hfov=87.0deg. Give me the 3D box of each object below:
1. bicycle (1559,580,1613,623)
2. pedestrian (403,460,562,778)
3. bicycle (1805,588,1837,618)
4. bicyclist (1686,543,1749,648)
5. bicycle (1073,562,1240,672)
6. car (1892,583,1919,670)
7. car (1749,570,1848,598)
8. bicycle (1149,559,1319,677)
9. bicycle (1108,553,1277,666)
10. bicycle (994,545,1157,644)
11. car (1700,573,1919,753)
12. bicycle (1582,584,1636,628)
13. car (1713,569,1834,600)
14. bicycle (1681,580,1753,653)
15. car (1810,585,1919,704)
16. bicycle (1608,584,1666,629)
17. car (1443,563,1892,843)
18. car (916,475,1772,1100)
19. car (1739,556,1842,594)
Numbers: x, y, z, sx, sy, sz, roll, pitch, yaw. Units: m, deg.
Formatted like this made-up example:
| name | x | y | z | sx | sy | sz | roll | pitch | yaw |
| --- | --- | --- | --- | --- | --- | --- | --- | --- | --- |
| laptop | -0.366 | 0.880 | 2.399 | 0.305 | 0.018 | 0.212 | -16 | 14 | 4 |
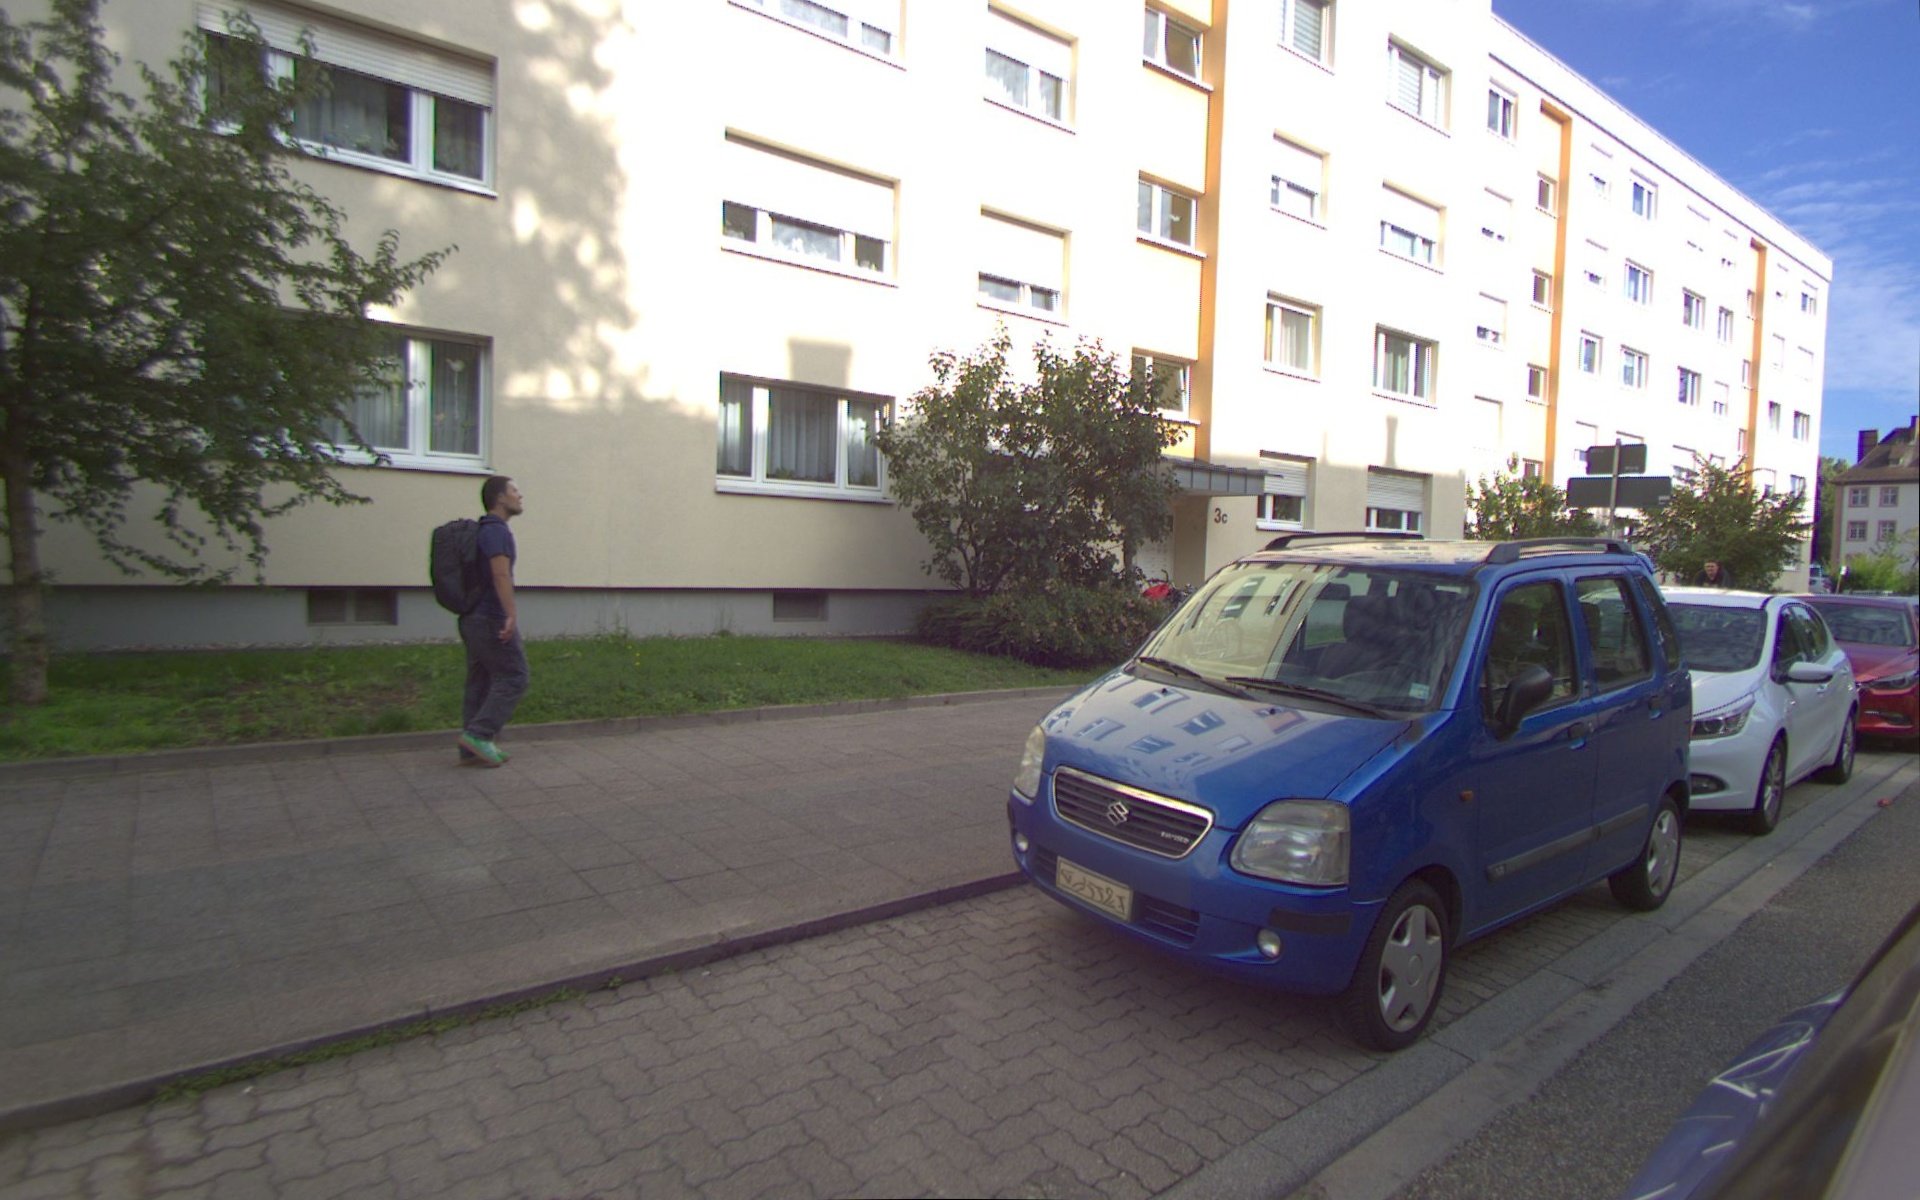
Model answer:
| name | x | y | z | sx | sy | sz | roll | pitch | yaw |
| --- | --- | --- | --- | --- | --- | --- | --- | --- | --- |
| bicycle | 16.200 | 0.027 | 26.158 | 2.033 | 1.042 | 0.503 | -1 | 5 | -40 |
| pedestrian | -2.825 | 0.095 | 5.982 | 0.756 | 1.742 | 0.544 | 1 | 2 | -34 |
| bicycle | 30.978 | 0.099 | 36.419 | 1.663 | 1.010 | 0.597 | -2 | 3 | -40 |
| bicyclist | 12.692 | -0.087 | 16.951 | 0.877 | 1.698 | 0.625 | 0 | 2 | -41 |
| bicycle | 2.653 | 0.188 | 13.440 | 2.588 | 1.306 | 0.597 | -1 | 5 | -40 |
| car | 18.626 | 0.510 | 18.638 | 3.873 | 1.509 | 1.665 | 0 | 4 | -41 |
| car | 49.036 | -0.960 | 59.261 | 1.833 | 1.500 | 4.096 | 0 | 2 | -30 |
| bicycle | 3.424 | 0.183 | 12.459 | 2.588 | 1.307 | 0.605 | -1 | 3 | -40 |
| bicycle | 3.021 | 0.088 | 12.950 | 2.588 | 1.306 | 0.605 | -1 | 4 | -40 |
| bicycle | 1.702 | -0.092 | 14.506 | 2.588 | 1.307 | 0.728 | -1 | 2 | -40 |
| car | 9.592 | 0.532 | 10.967 | 4.121 | 1.533 | 1.731 | -1 | 4 | -43 |
| bicycle | 16.522 | 0.126 | 25.753 | 2.059 | 1.042 | 0.503 | -1 | 5 | -40 |
| car | 43.640 | -0.860 | 54.392 | 1.834 | 1.500 | 4.684 | 0 | 2 | -34 |
| bicycle | 12.640 | 0.252 | 16.879 | 1.895 | 1.149 | 0.524 | 0 | 2 | -41 |
| car | 13.510 | 0.562 | 14.172 | 3.986 | 1.433 | 1.666 | -1 | 4 | -39 |
| bicycle | 16.976 | 0.135 | 25.355 | 2.082 | 1.042 | 0.595 | -1 | 5 | -40 |
| car | 5.394 | 0.526 | 7.516 | 4.044 | 1.478 | 1.732 | -1 | 4 | -41 |
| car | 1.967 | 0.442 | 4.611 | 4.041 | 1.669 | 1.734 | 0 | 4 | -38 |
| car | 50.964 | -1.563 | 62.179 | 2.320 | 2.219 | 4.286 | 0 | 2 | -32 |
